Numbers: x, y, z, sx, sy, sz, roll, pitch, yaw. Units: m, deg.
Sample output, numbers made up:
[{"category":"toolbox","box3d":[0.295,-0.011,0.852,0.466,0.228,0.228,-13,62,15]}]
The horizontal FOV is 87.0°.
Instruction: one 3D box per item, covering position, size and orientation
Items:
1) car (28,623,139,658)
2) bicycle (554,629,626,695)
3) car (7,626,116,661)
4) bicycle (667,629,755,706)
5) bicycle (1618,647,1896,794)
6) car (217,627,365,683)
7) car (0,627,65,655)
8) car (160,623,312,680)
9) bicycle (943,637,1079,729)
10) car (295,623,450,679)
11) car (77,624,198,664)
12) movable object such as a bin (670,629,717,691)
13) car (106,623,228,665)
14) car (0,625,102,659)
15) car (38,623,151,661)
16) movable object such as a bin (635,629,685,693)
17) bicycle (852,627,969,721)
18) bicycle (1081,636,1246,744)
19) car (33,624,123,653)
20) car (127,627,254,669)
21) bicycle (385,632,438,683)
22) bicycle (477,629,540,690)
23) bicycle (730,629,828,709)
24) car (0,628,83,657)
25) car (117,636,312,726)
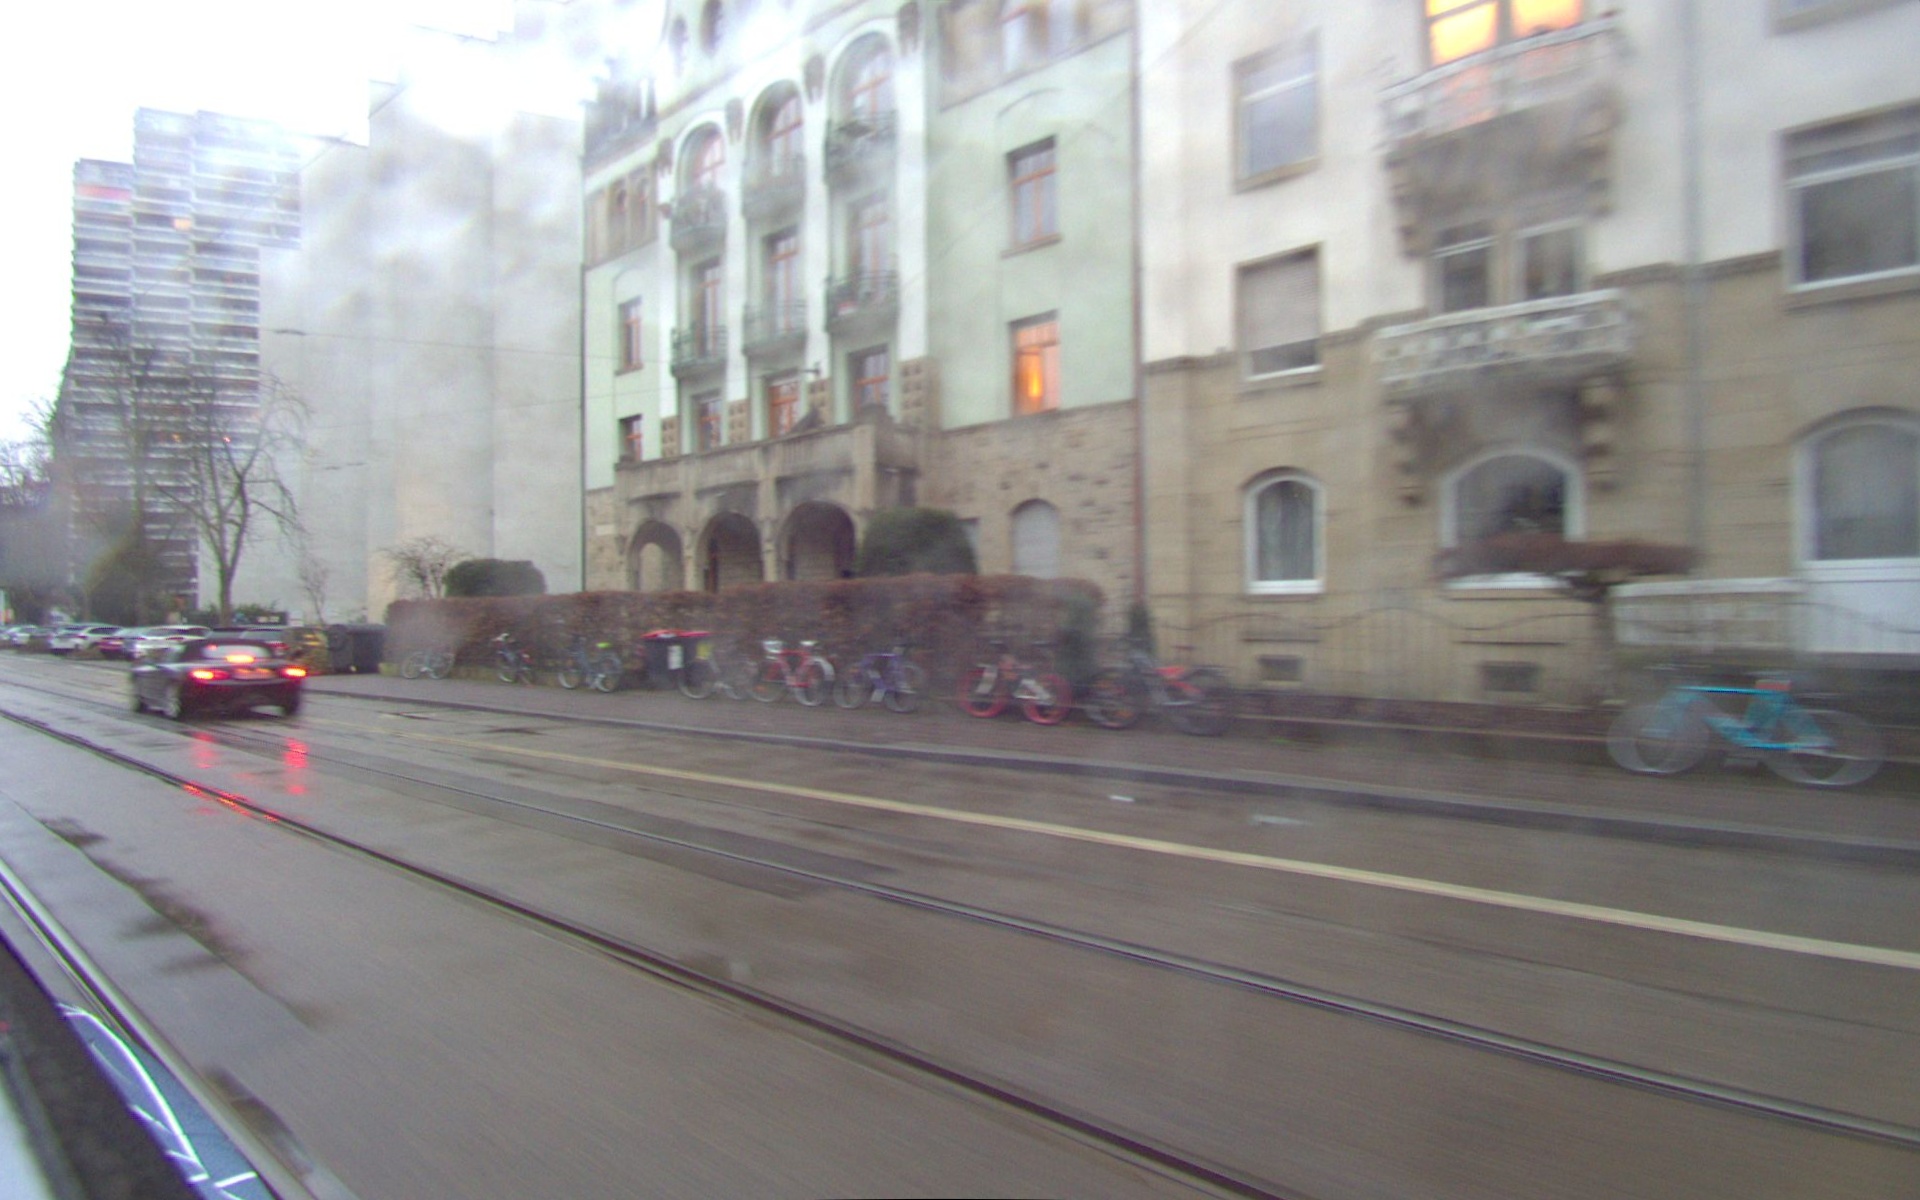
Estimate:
[{"category":"car","box3d":[-42.693,1.949,49.423,1.844,1.608,3.996,-1,-1,3]},{"category":"bicycle","box3d":[-7.192,1.175,19.638,1.662,1.221,0.616,-2,-2,43]},{"category":"car","box3d":[-45.280,2.167,51.127,1.844,1.608,3.996,-1,-1,3]},{"category":"bicycle","box3d":[-4.199,1.104,16.988,1.662,1.221,0.616,-2,-2,43]},{"category":"bicycle","box3d":[6.274,0.898,8.033,1.662,1.010,0.616,-2,-2,43]},{"category":"car","box3d":[-20.145,1.620,30.689,1.741,1.497,3.996,-1,-1,3]},{"category":"car","box3d":[-57.267,2.487,61.681,1.844,1.608,3.996,-1,-1,3]},{"category":"car","box3d":[-22.938,1.588,32.262,1.844,1.608,3.996,-1,-1,3]},{"category":"bicycle","box3d":[0.618,1.018,12.822,1.726,1.073,0.616,-2,-2,43]},{"category":"car","box3d":[-17.498,1.483,30.357,1.849,1.505,3.985,-1,-1,12]},{"category":"car","box3d":[-35.412,1.860,43.715,1.844,1.608,3.996,-1,-1,3]},{"category":"movable object such as a bin","box3d":[-5.166,1.148,19.649,0.675,1.173,0.616,-2,-2,43]},{"category":"car","box3d":[-33.063,1.791,42.349,1.844,1.608,3.996,-1,-1,3]},{"category":"car","box3d":[-47.384,2.156,52.772,1.844,1.608,3.996,-1,-1,3]},{"category":"car","box3d":[-40.596,1.938,47.591,1.844,1.608,3.996,-1,-1,3]},{"category":"movable object such as a bin","box3d":[-5.696,1.146,19.212,0.675,1.173,0.650,-2,-2,43]},{"category":"bicycle","box3d":[-0.707,0.990,13.992,1.662,1.221,0.616,-2,-2,43]},{"category":"bicycle","box3d":[2.295,0.982,11.569,1.783,1.134,0.616,-2,-2,43]},{"category":"car","box3d":[-52.639,2.270,60.505,1.844,1.608,3.996,-1,-1,3]},{"category":"car","box3d":[-30.077,1.844,39.715,1.844,1.460,3.996,-1,-1,3]},{"category":"bicycle","box3d":[-13.263,1.358,24.459,1.662,1.173,0.616,-2,-1,43]},{"category":"bicycle","box3d":[-9.517,1.234,21.318,1.662,1.221,0.616,-2,-2,43]},{"category":"bicycle","box3d":[-2.828,1.040,15.714,1.662,1.173,0.616,-2,-2,43]},{"category":"car","box3d":[-55.457,2.558,60.847,1.844,1.608,3.996,-1,-1,3]},{"category":"car","box3d":[-12.099,1.229,16.366,3.662,1.262,1.689,-2,-2,39]}]
